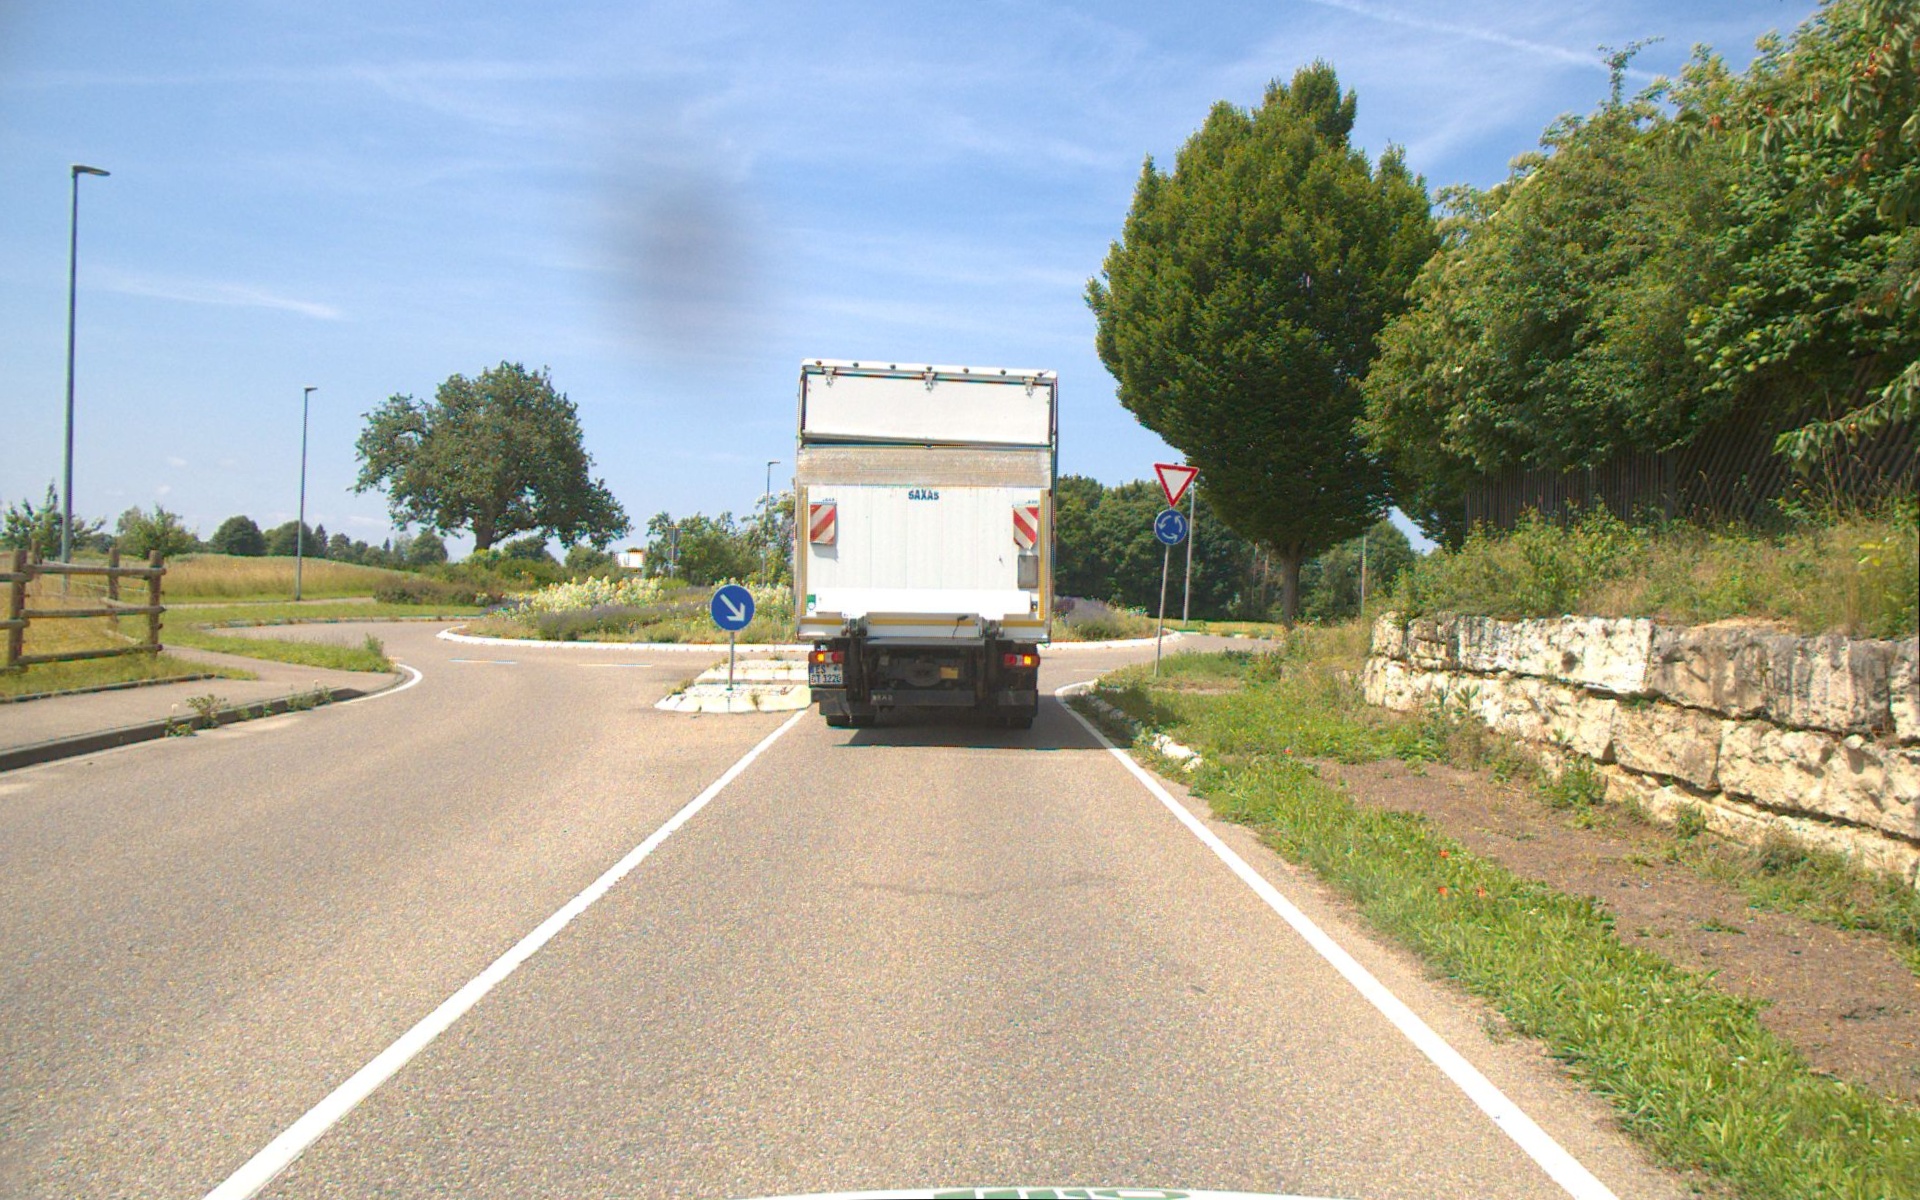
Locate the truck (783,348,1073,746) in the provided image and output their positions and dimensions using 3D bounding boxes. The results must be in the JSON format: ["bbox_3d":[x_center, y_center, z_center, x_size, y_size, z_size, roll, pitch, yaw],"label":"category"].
[{"bbox_3d":[-0.460,-0.515,20.457,2.711,3.735,9.379,1,0,-2],"label":"truck"}]
